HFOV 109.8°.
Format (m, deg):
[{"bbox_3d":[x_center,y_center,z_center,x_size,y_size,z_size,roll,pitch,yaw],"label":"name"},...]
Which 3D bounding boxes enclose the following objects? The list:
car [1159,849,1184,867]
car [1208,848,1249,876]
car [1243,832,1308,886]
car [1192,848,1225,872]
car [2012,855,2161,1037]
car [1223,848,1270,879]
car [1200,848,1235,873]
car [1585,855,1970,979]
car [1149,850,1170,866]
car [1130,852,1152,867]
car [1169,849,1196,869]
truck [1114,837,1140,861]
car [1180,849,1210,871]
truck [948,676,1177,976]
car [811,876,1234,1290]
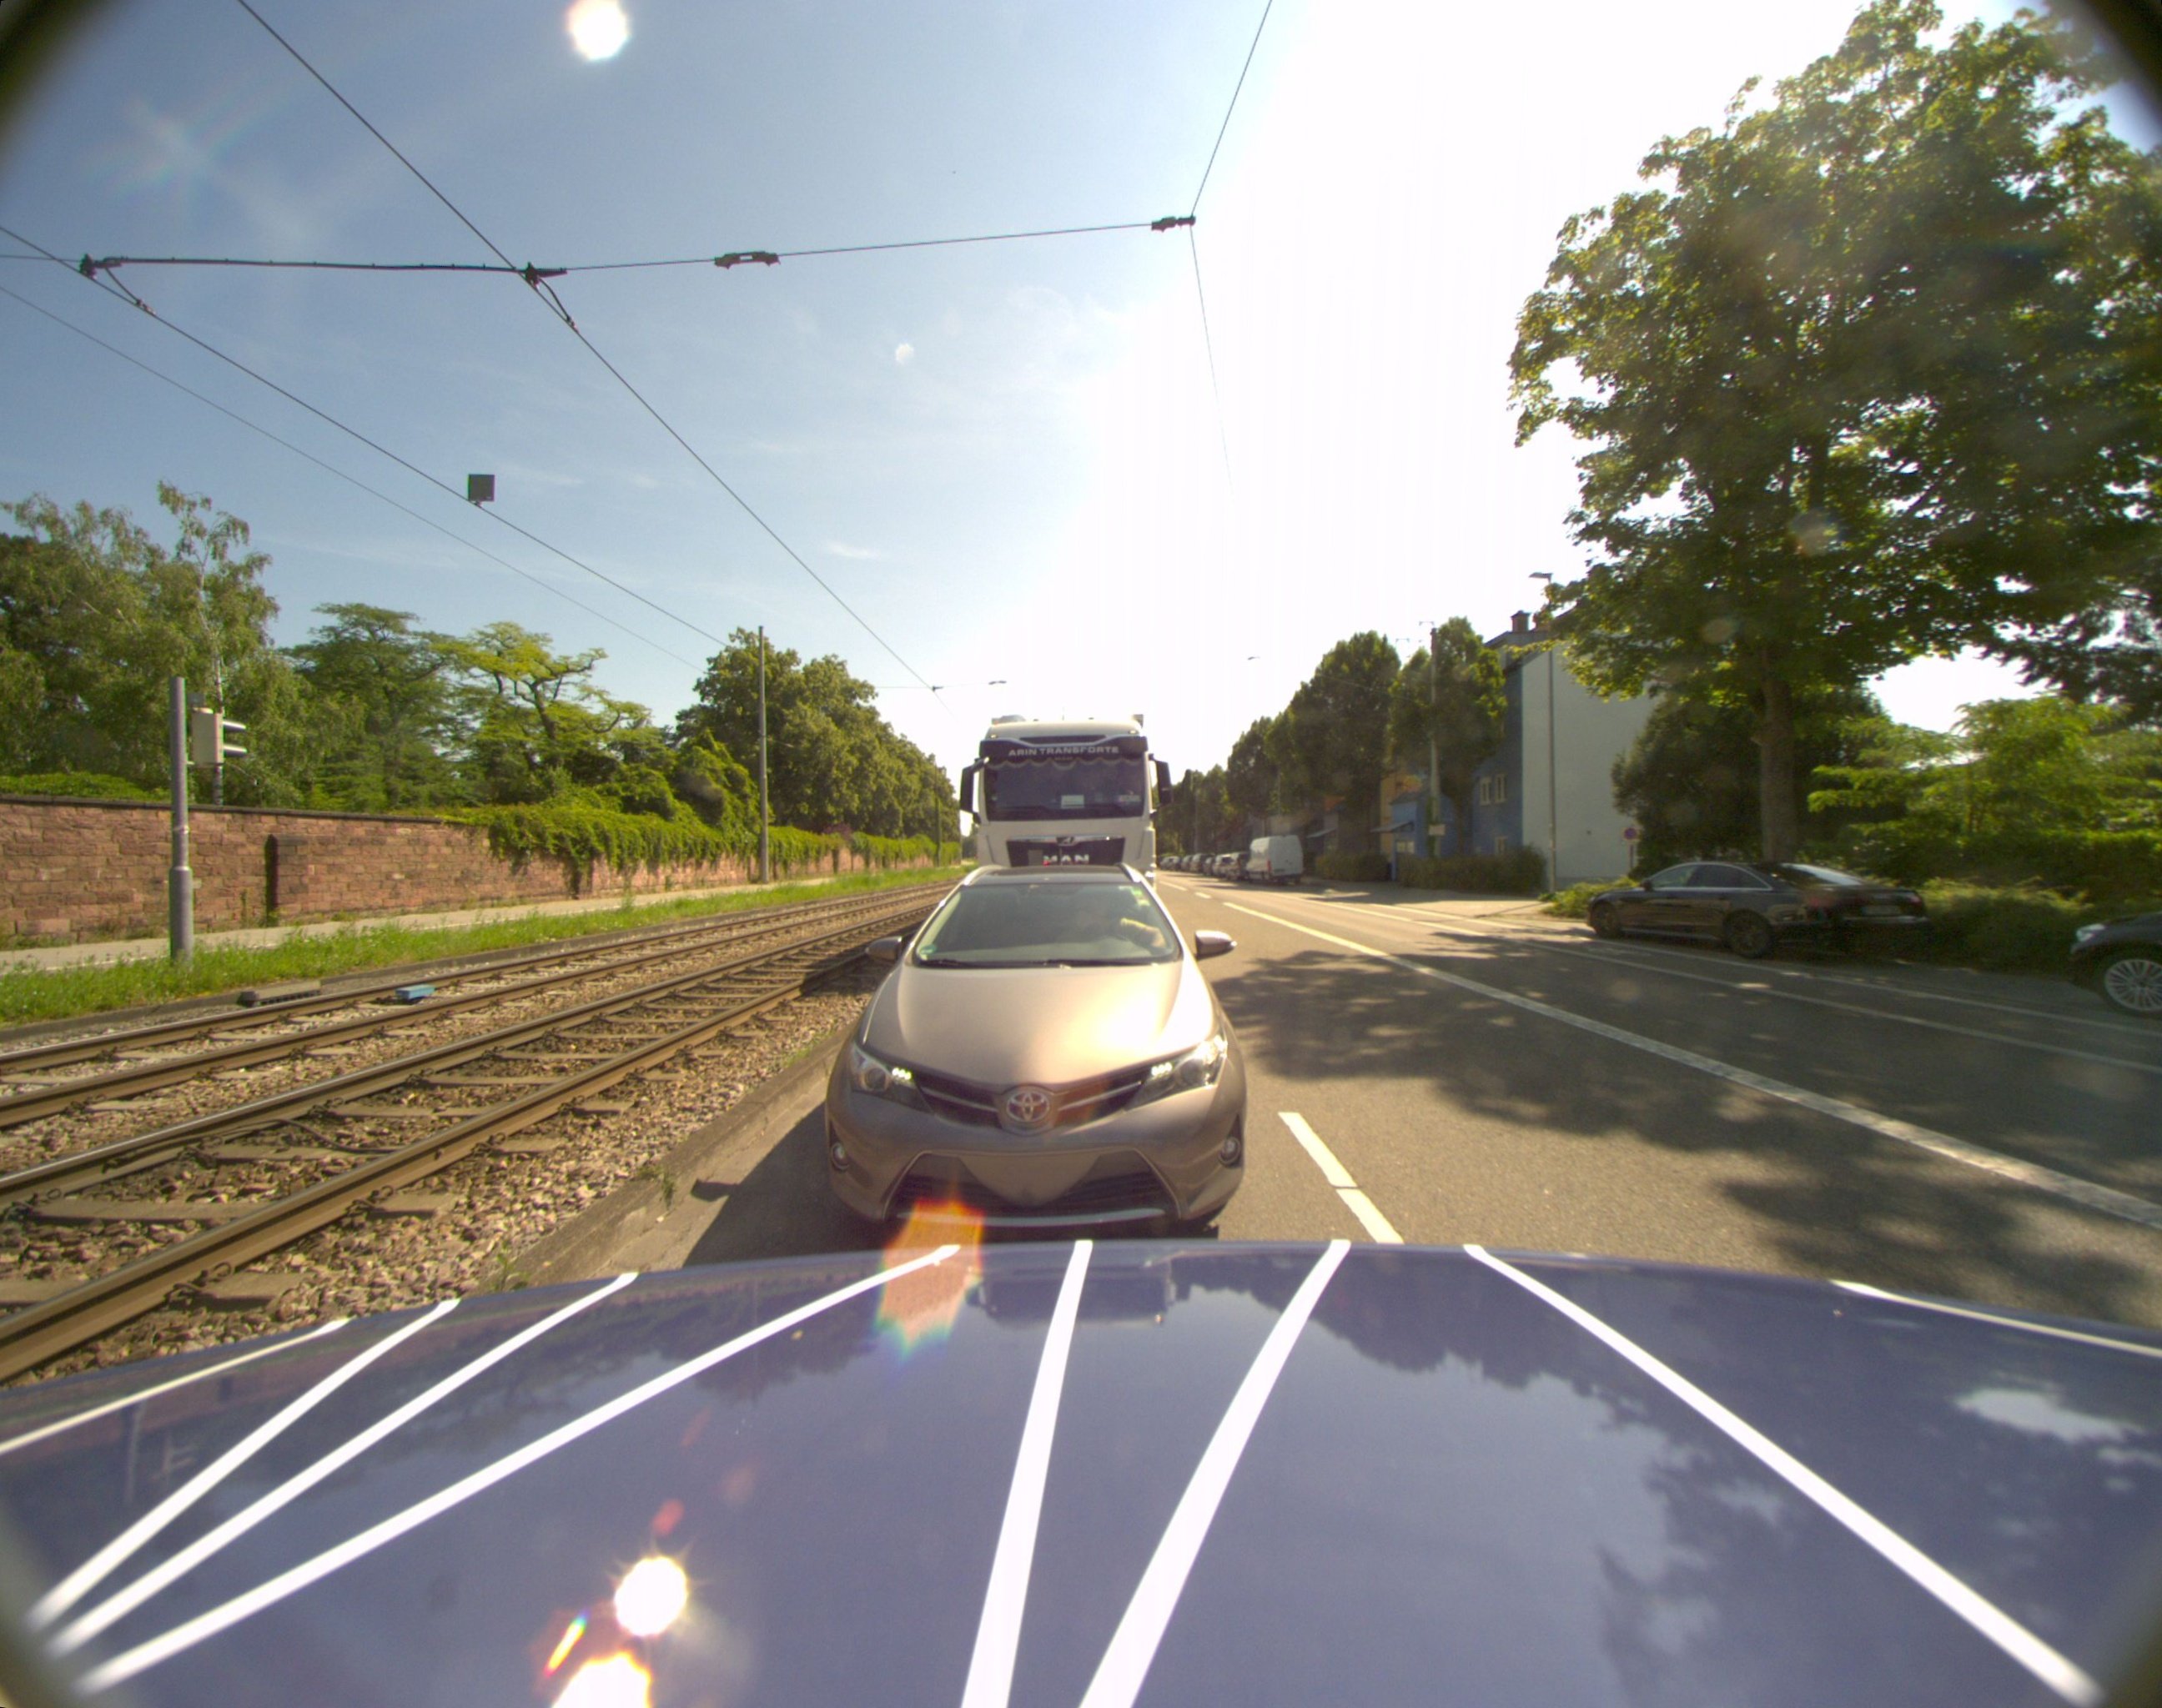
[{"bbox_3d":[10.200,0.423,85.906,1.998,1.795,4.769,-6,0,0],"label":"car"},{"bbox_3d":[11.084,0.582,57.375,1.998,1.795,4.769,-6,0,0],"label":"car"},{"bbox_3d":[10.913,0.253,43.146,1.998,2.678,6.214,-6,0,2],"label":"car"},{"bbox_3d":[11.293,0.507,67.670,1.998,1.795,4.769,-6,0,0],"label":"car"},{"bbox_3d":[10.589,0.824,5.565,1.868,1.562,4.621,-2,0,0],"label":"car"},{"bbox_3d":[11.141,0.638,51.442,1.998,1.795,4.769,-6,0,0],"label":"car"},{"bbox_3d":[11.225,0.545,62.858,1.998,1.795,4.256,-6,0,0],"label":"car"},{"bbox_3d":[10.564,0.824,12.155,1.868,1.562,4.621,-1,0,-2],"label":"car"},{"bbox_3d":[9.947,0.484,96.860,1.998,1.795,4.769,-6,0,0],"label":"car"},{"bbox_3d":[8.281,0.805,105.565,1.999,1.795,5.111,-6,0,-4],"label":"car"},{"bbox_3d":[10.561,0.529,79.036,1.998,1.795,4.769,-6,0,0],"label":"car"},{"bbox_3d":[6.987,-0.665,116.103,2.704,3.263,6.724,-6,0,-5],"label":"truck"},{"bbox_3d":[10.950,0.572,73.373,1.998,1.795,4.769,-6,0,0],"label":"car"},{"bbox_3d":[-0.144,-0.377,17.240,2.935,3.856,14.913,0,0,1],"label":"truck"},{"bbox_3d":[-0.193,0.911,4.833,1.573,1.422,4.000,0,0,1],"label":"car"}]
